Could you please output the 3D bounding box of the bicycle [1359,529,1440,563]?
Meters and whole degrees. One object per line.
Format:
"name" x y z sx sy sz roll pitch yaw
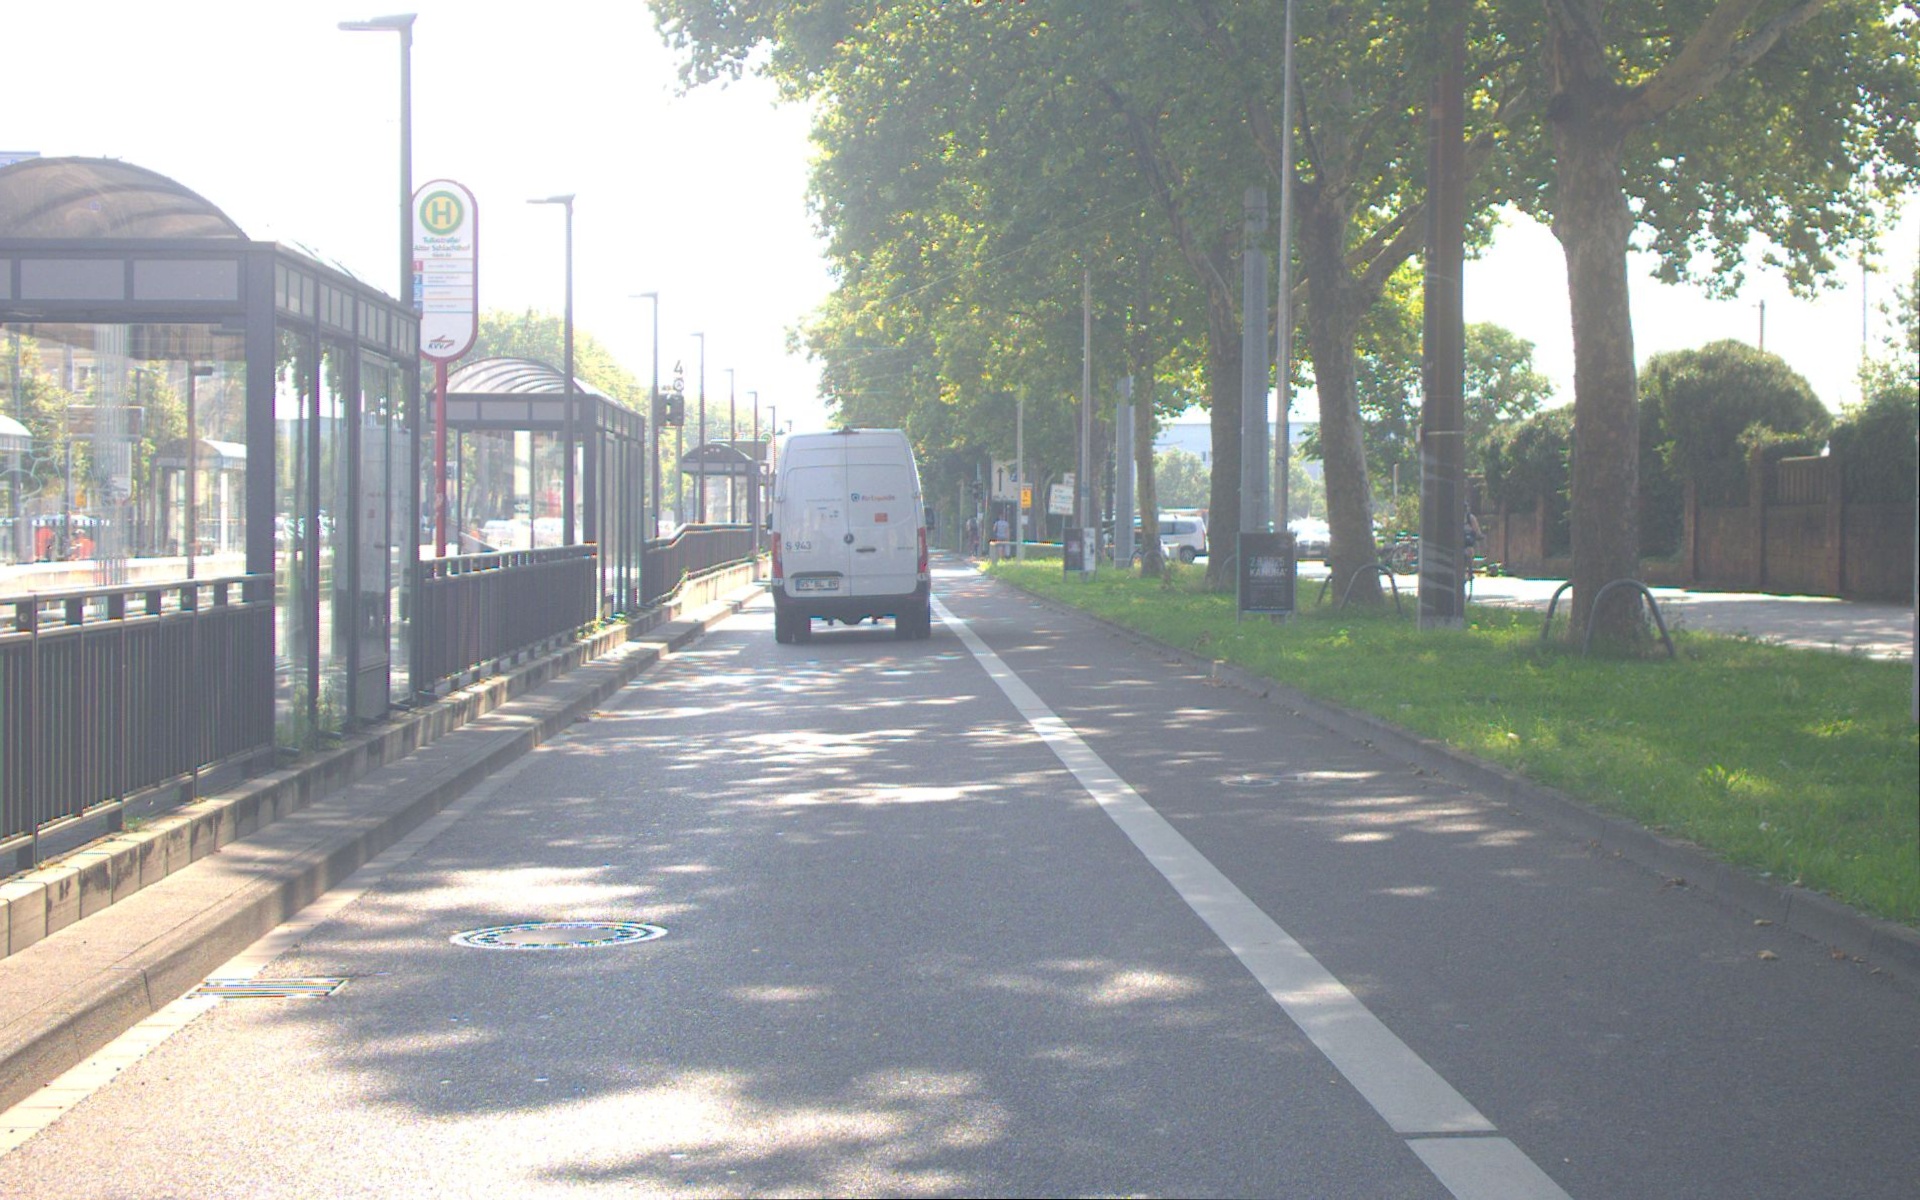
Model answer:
"bicycle" 10.825 -1.331 84.668 1.932 0.844 0.372 0 1 -1

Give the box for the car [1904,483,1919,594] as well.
"car" 17.868 -1.025 56.953 4.001 1.836 1.562 0 2 -4

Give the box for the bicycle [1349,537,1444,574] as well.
"bicycle" 10.387 -1.069 81.785 2.180 0.844 0.503 -1 1 -1

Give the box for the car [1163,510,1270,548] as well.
"car" 10.048 -2.783 134.862 3.986 1.371 2.000 2 0 -2

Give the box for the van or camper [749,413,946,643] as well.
"van or camper" -1.528 -0.945 44.511 2.115 2.672 5.251 -4 2 -5

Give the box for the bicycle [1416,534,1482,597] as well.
"bicycle" 8.154 -0.590 57.389 0.681 1.001 2.218 -1 2 -3

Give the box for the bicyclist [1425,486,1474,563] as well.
"bicyclist" 8.180 -1.257 57.455 0.669 1.272 0.728 -1 1 -3
